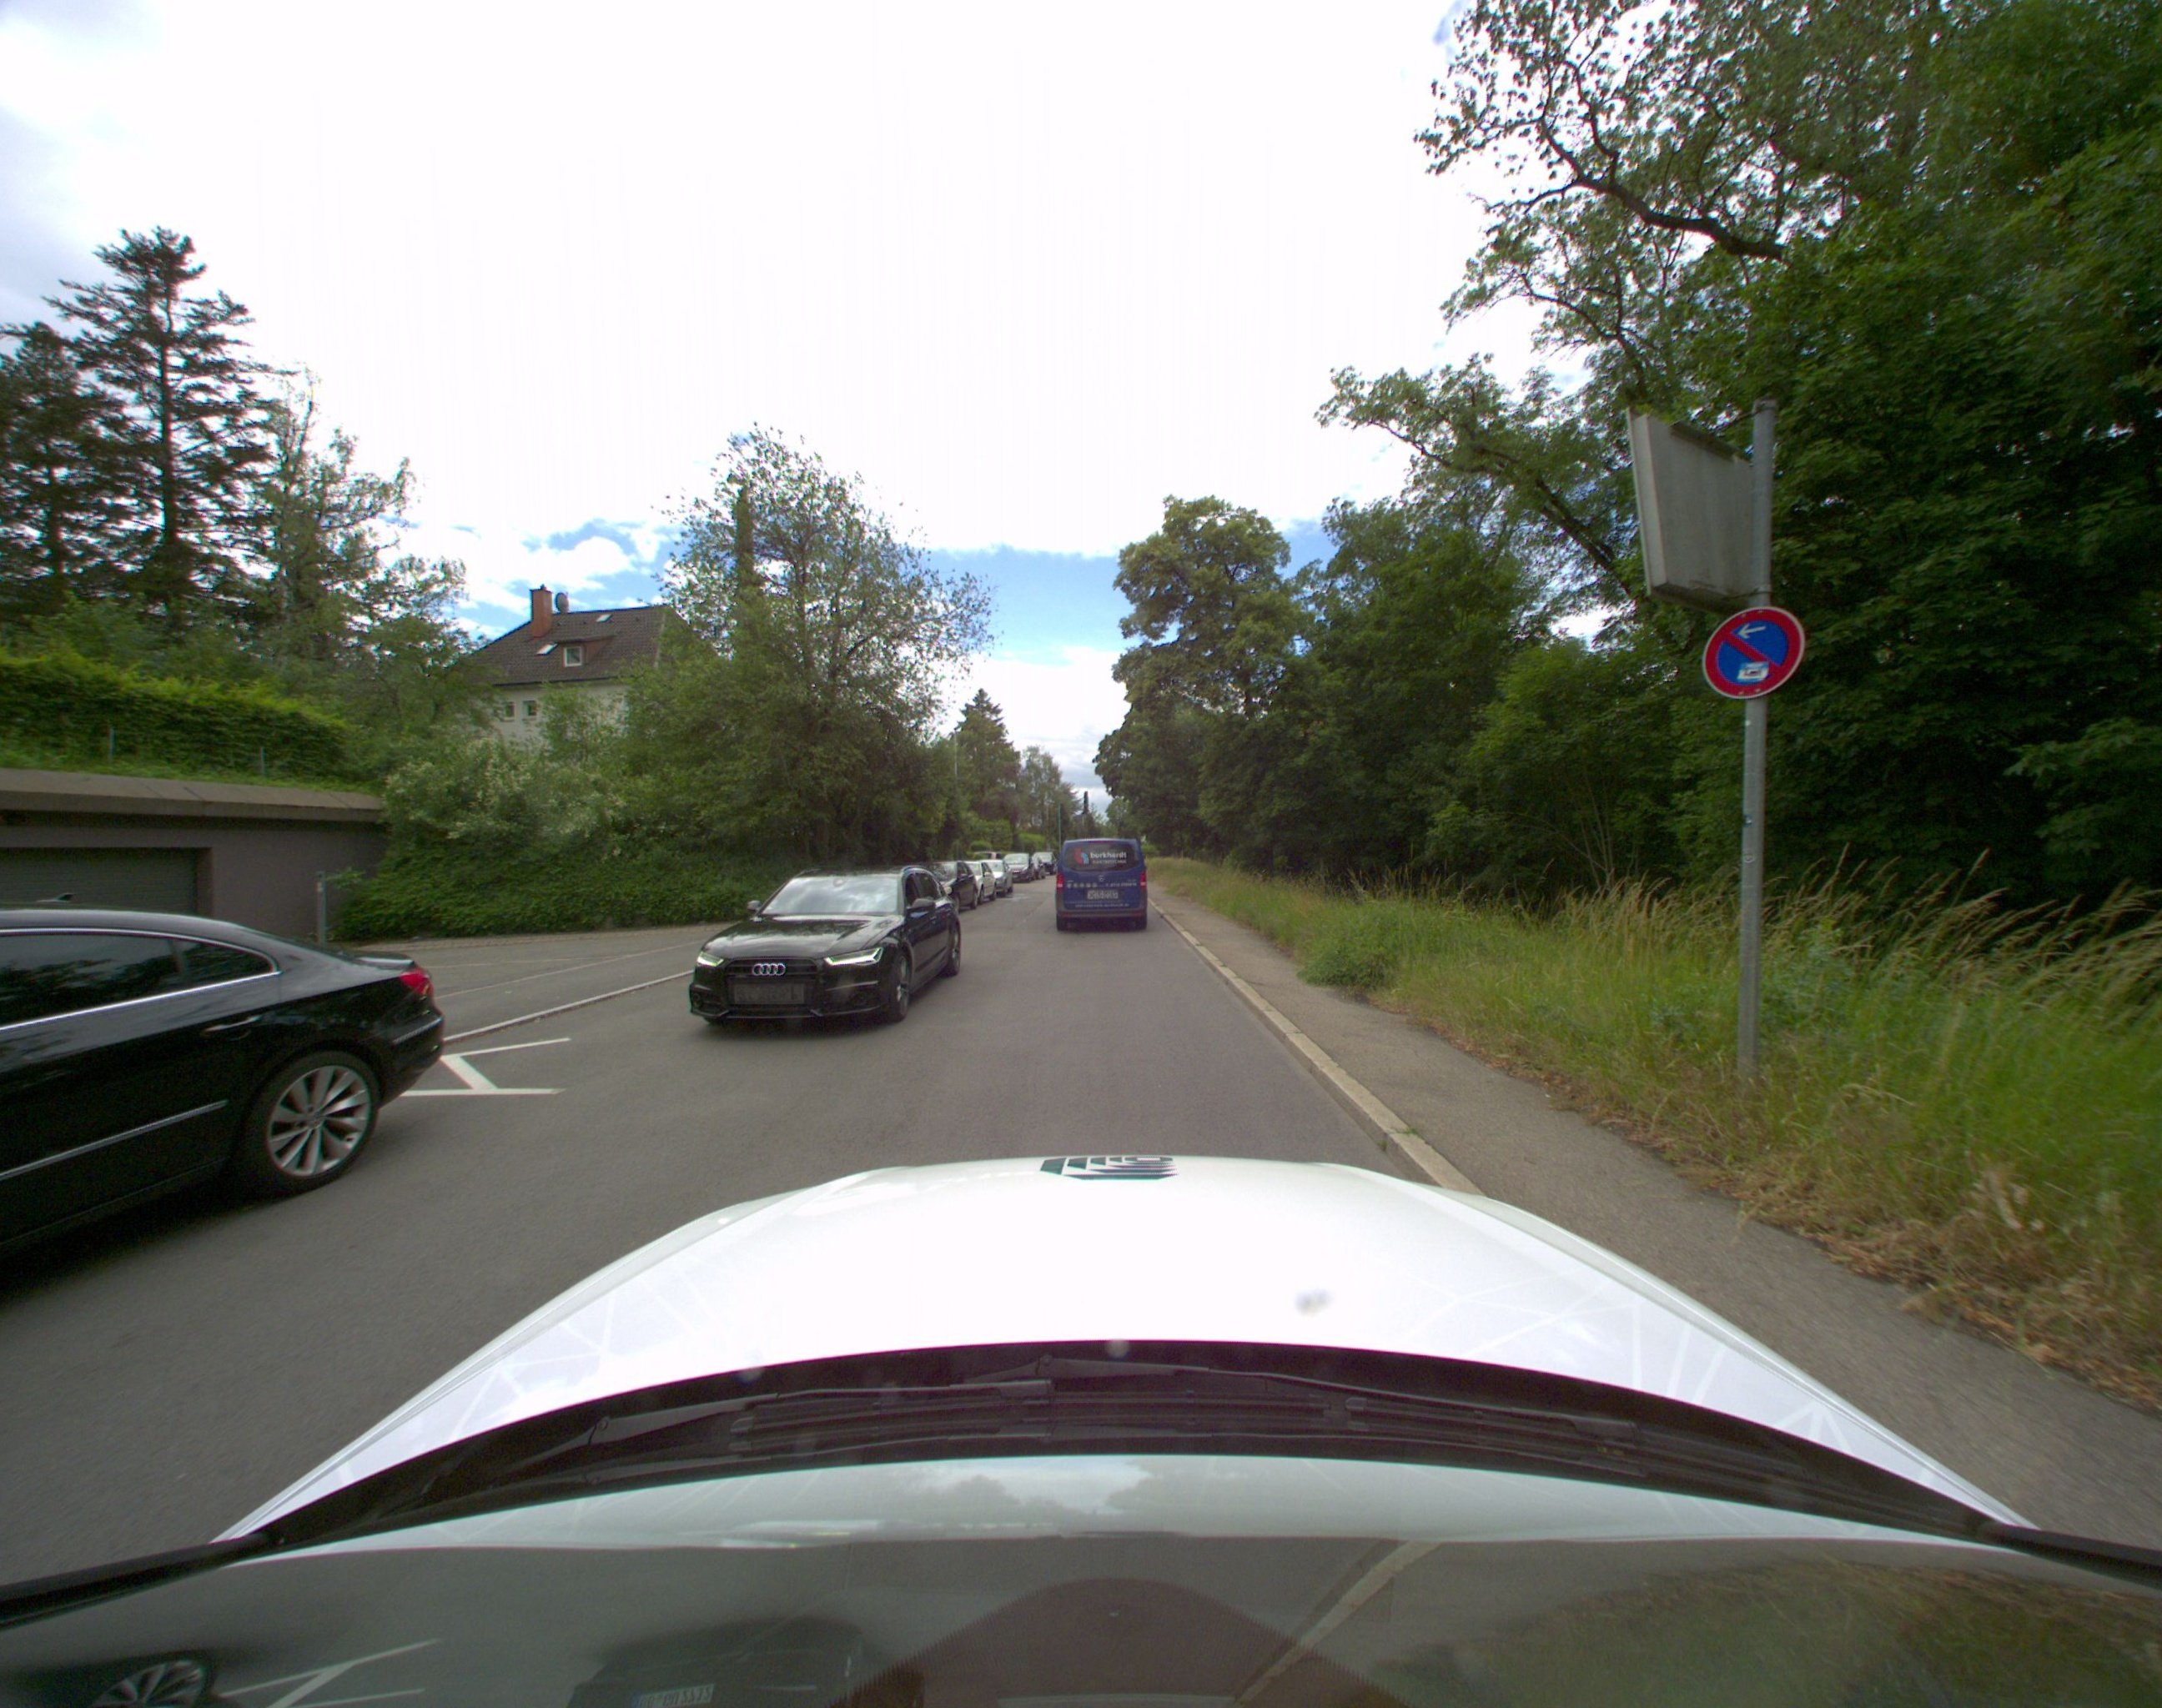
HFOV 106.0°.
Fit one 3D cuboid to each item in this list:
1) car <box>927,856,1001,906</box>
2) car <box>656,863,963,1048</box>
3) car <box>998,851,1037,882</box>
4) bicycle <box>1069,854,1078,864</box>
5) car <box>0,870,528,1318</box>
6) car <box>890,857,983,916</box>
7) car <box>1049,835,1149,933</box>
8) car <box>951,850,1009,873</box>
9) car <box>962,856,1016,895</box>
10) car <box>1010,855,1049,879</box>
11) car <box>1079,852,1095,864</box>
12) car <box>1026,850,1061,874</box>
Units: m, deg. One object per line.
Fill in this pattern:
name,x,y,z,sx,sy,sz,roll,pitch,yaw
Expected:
car,-3.875,0.852,27.607,1.653,1.452,4.384,-2,0,2
car,-2.544,0.855,8.892,1.774,1.426,4.490,-1,0,1
car,-3.506,0.651,45.618,1.725,1.632,4.570,0,0,1
bicycle,-0.977,0.654,110.169,0.902,1.252,2.920,2,0,5
car,-4.473,0.833,2.665,1.772,1.432,5.105,-1,0,1
car,-3.953,0.837,22.886,1.616,1.450,3.973,-2,0,3
car,0.309,0.531,17.854,1.883,1.844,3.998,-2,1,-1
car,-7.307,0.544,59.012,3.665,1.637,1.835,0,0,15
car,-3.689,0.825,33.270,1.617,1.450,4.094,1,0,1
car,-3.158,0.797,51.063,1.746,1.412,4.904,0,0,4
car,0.842,0.565,112.990,1.827,1.631,4.306,1,0,5
car,-2.791,0.598,61.787,1.965,1.737,5.196,0,0,4
